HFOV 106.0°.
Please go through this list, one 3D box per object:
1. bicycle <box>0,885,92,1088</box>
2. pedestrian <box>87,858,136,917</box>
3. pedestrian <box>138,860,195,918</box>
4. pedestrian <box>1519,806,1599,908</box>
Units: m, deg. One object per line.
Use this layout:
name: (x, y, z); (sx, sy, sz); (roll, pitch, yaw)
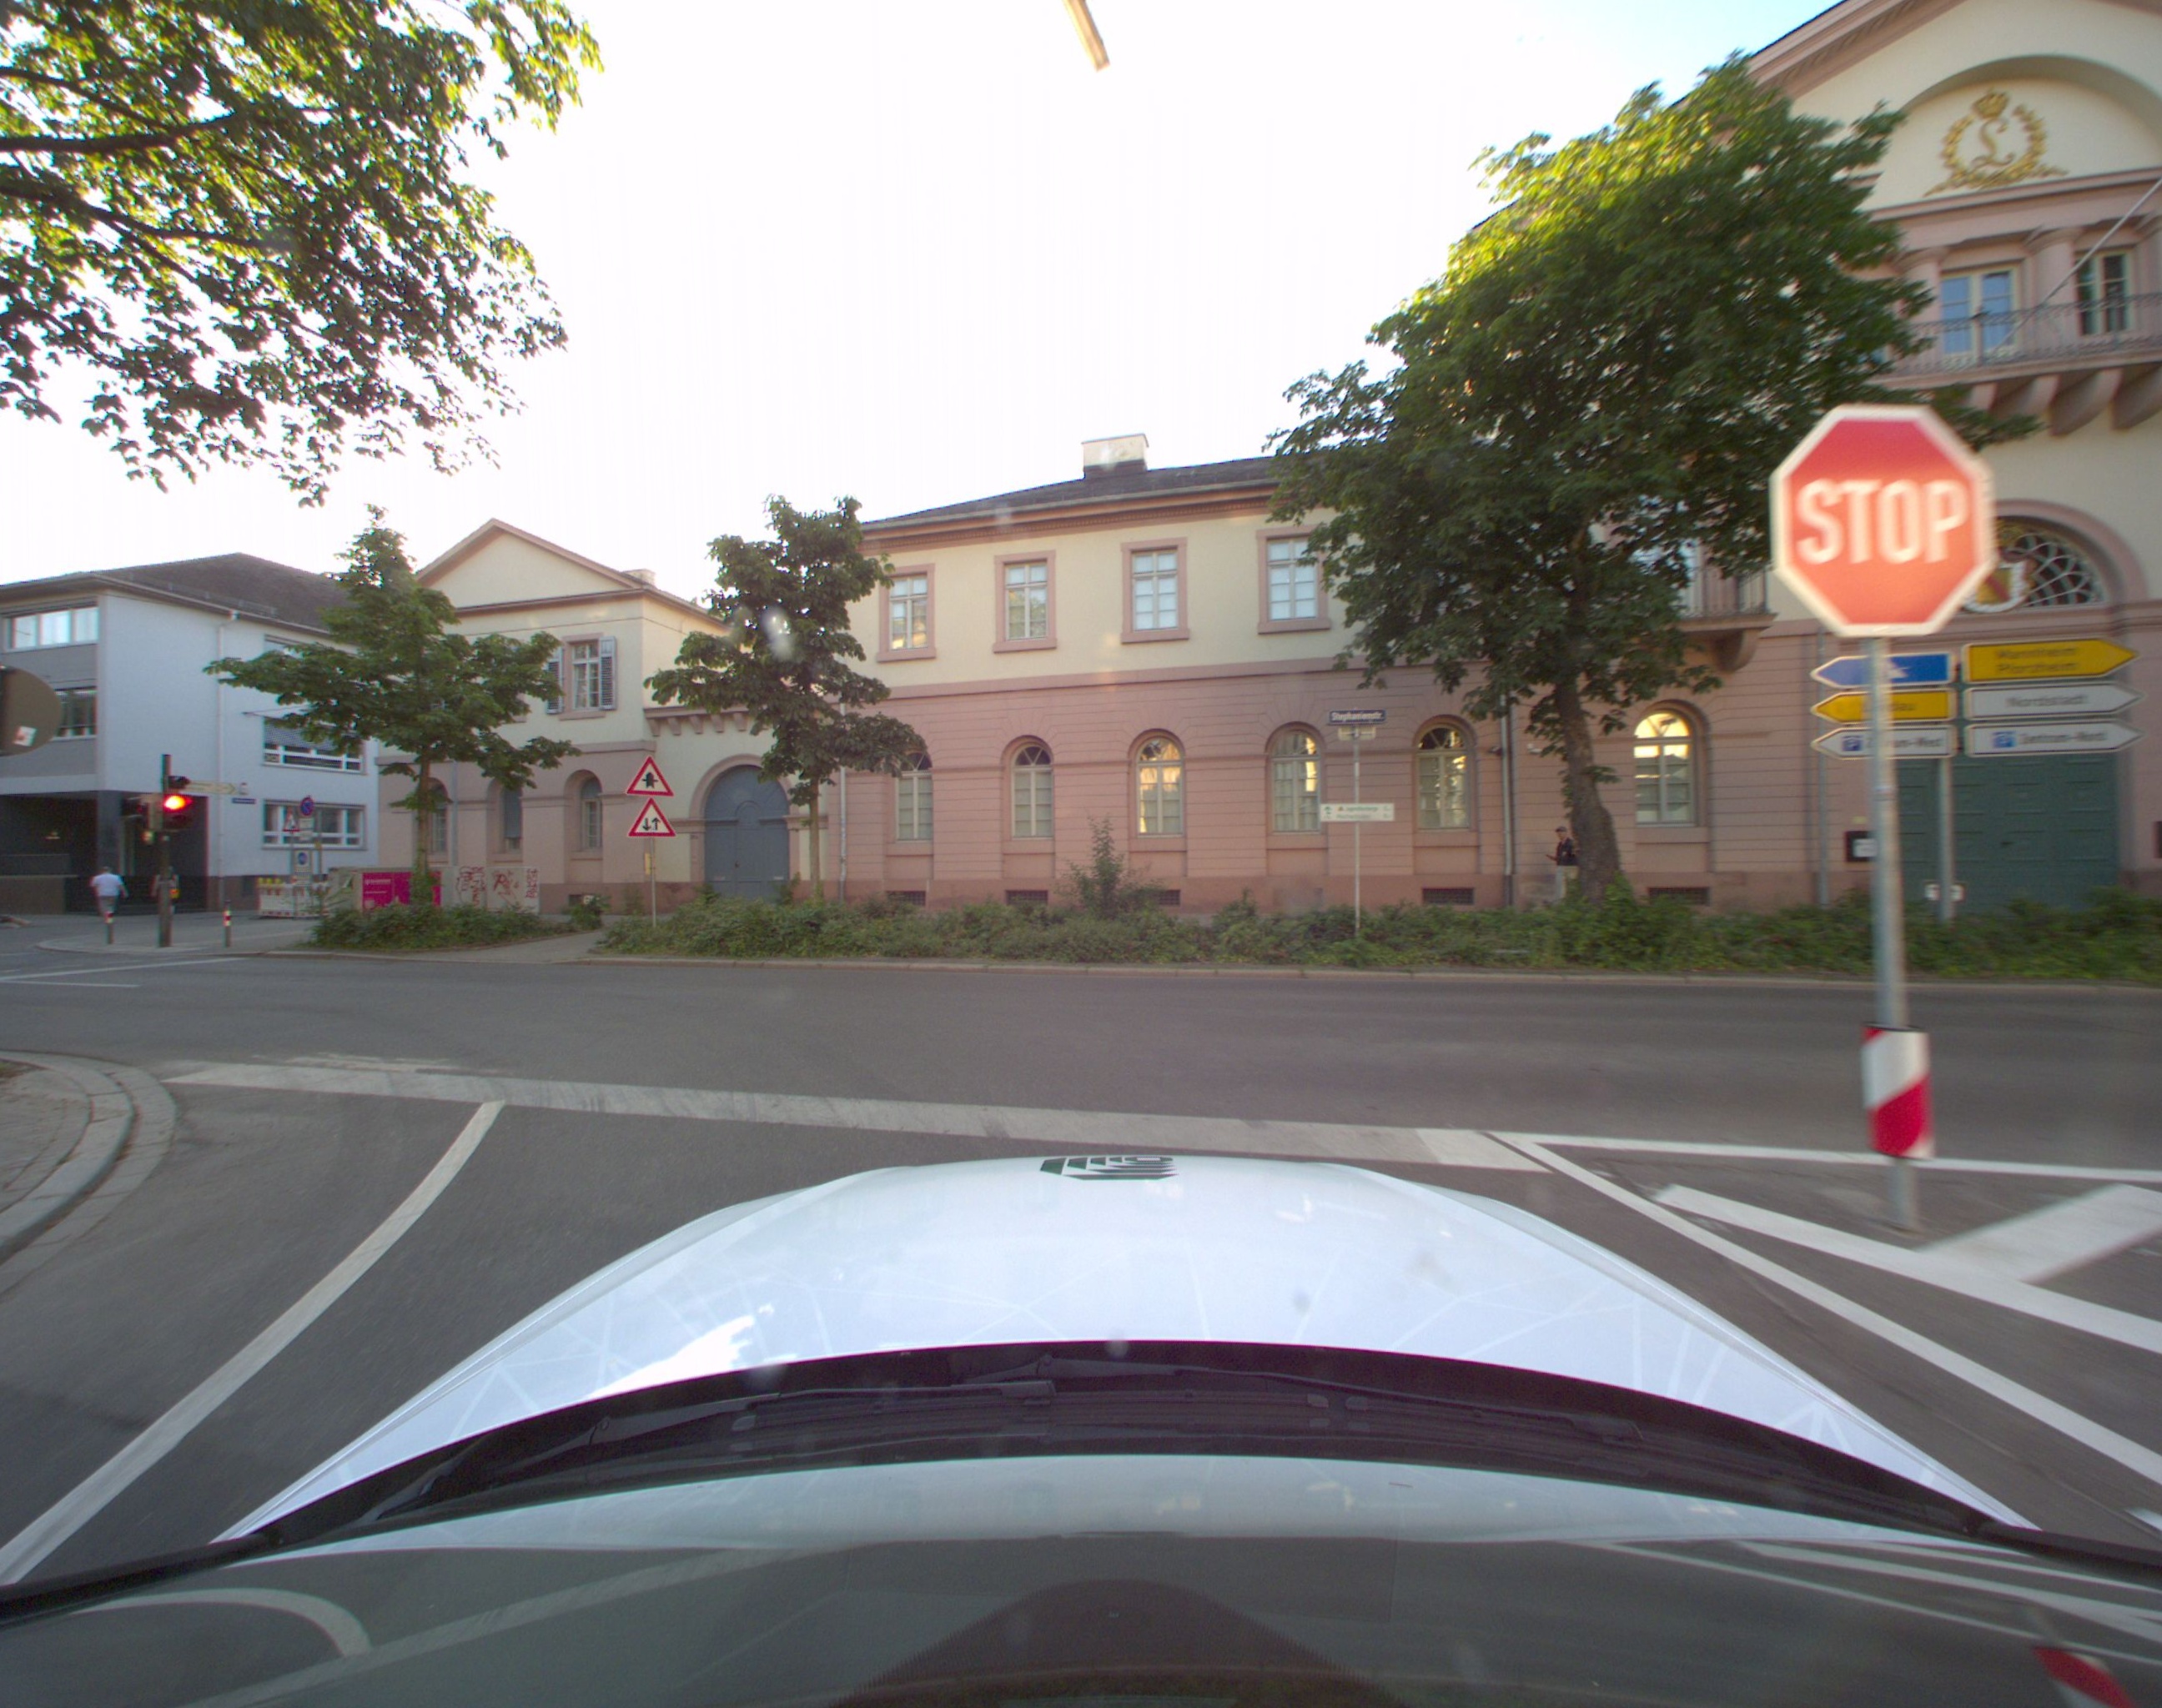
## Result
bicycle: (-8.045, 0.876, 5.773); (2.540, 1.267, 0.851); (-1, 0, 29)
pedestrian: (-29.299, 1.014, 24.616); (0.691, 1.752, 0.709); (-1, -1, 18)
pedestrian: (-28.421, 1.084, 25.316); (0.762, 1.752, 0.938); (-1, -1, 19)
pedestrian: (8.896, 0.070, 15.200); (1.071, 1.839, 0.804); (-1, -1, 14)
